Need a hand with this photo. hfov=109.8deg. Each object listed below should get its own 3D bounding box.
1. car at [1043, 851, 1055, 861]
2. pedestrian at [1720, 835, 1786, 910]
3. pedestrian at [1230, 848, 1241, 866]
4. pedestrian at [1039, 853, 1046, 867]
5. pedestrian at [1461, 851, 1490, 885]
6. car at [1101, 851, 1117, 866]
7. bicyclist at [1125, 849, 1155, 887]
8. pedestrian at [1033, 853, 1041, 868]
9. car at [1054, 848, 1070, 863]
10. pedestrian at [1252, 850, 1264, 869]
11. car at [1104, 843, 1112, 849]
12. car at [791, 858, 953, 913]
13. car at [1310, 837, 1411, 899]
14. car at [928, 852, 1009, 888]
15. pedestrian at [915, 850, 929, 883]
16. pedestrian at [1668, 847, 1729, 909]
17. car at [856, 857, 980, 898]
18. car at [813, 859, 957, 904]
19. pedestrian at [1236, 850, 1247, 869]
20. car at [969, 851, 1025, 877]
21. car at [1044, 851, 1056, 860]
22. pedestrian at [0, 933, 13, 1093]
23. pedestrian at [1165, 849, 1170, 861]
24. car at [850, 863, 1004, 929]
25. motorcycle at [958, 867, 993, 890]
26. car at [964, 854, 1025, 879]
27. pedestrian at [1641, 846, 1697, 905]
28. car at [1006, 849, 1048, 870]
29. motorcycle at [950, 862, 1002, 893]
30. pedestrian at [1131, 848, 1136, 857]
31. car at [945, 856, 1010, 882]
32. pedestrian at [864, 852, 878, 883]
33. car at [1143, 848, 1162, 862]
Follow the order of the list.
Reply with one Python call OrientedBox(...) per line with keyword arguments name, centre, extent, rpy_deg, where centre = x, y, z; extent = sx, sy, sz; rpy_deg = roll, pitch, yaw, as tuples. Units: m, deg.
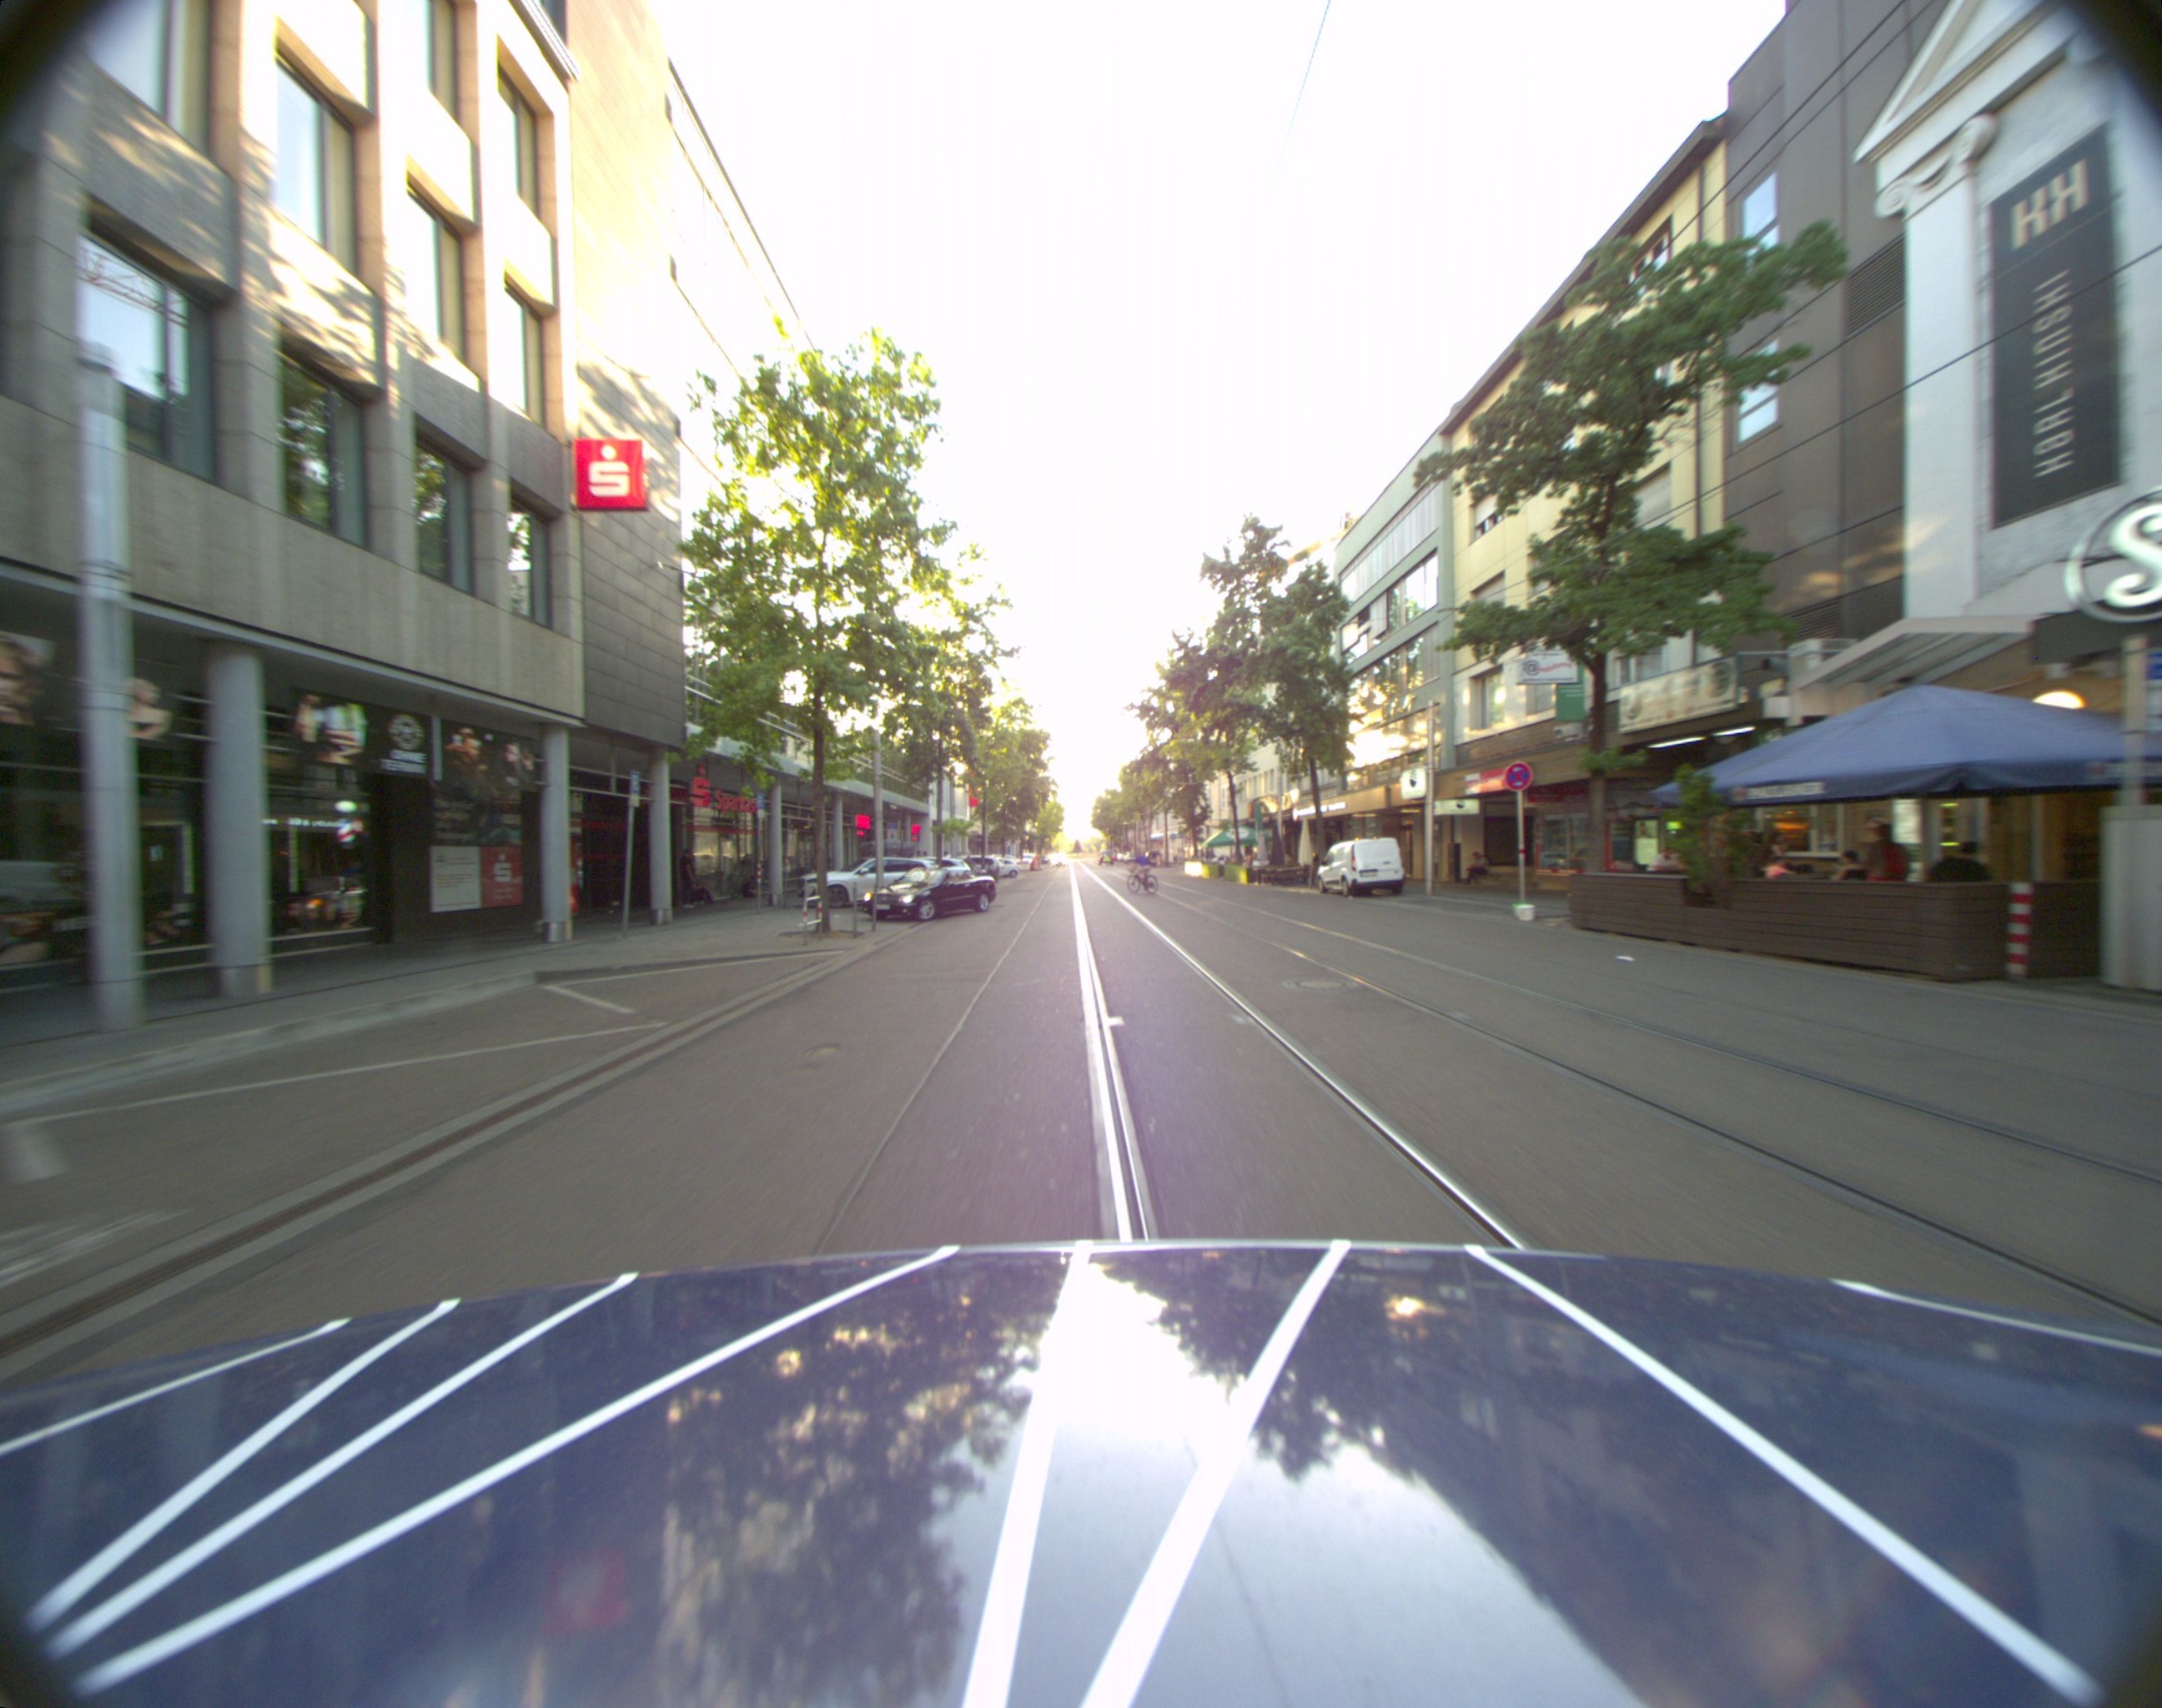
OrientedBox(name="car", centre=(-5.452, 0.287, 128.631), extent=(1.793, 1.499, 3.999), rpy_deg=(-2, 1, 0))
OrientedBox(name="pedestrian", centre=(13.492, 0.355, 15.277), extent=(0.662, 1.426, 0.643), rpy_deg=(-6, 2, 0))
OrientedBox(name="pedestrian", centre=(12.338, 0.221, 60.731), extent=(0.650, 1.451, 0.650), rpy_deg=(-1, 1, -2))
OrientedBox(name="pedestrian", centre=(-4.046, 0.596, 79.708), extent=(0.650, 1.451, 0.649), rpy_deg=(-1, 1, -17))
OrientedBox(name="pedestrian", centre=(13.763, 0.477, 26.517), extent=(0.650, 1.168, 0.650), rpy_deg=(-2, 1, -5))
OrientedBox(name="car", centre=(3.833, 0.561, 104.672), extent=(1.998, 2.002, 4.000), rpy_deg=(-1, 0, 0))
OrientedBox(name="bicyclist", centre=(2.250, 0.537, 29.154), extent=(0.762, 1.406, 0.895), rpy_deg=(0, -1, -28))
OrientedBox(name="pedestrian", centre=(-4.468, 0.646, 77.134), extent=(0.650, 1.451, 0.649), rpy_deg=(-1, 1, -17))
OrientedBox(name="car", centre=(-2.555, 0.179, 101.295), extent=(1.998, 2.002, 4.000), rpy_deg=(-1, 0, 0))
OrientedBox(name="pedestrian", centre=(13.310, 0.425, 57.149), extent=(0.650, 1.451, 0.650), rpy_deg=(-1, 1, -2))
OrientedBox(name="car", centre=(7.336, -2.131, 207.126), extent=(1.799, 1.501, 4.000), rpy_deg=(-1, 0, 0))
OrientedBox(name="car", centre=(-6.633, 0.980, 24.326), extent=(4.646, 1.620, 1.913), rpy_deg=(1, -1, -32))
OrientedBox(name="car", centre=(9.349, 0.436, 25.793), extent=(1.830, 1.811, 4.329), rpy_deg=(-4, 0, 1))
OrientedBox(name="car", centre=(-6.785, 0.957, 46.115), extent=(4.474, 1.869, 1.795), rpy_deg=(-4, 1, -37))
OrientedBox(name="pedestrian", centre=(-8.304, 0.641, 39.722), extent=(0.618, 1.681, 0.628), rpy_deg=(0, 1, 0))
OrientedBox(name="pedestrian", centre=(12.937, 0.486, 15.928), extent=(0.642, 1.221, 0.665), rpy_deg=(-6, 2, -2))
OrientedBox(name="car", centre=(-6.752, 0.926, 31.658), extent=(4.646, 1.578, 1.913), rpy_deg=(1, 0, -35))
OrientedBox(name="car", centre=(-6.938, 0.938, 27.024), extent=(4.644, 1.431, 1.913), rpy_deg=(1, 0, -27))
OrientedBox(name="pedestrian", centre=(12.475, 0.425, 59.177), extent=(0.650, 1.451, 0.650), rpy_deg=(-1, 1, -2))
OrientedBox(name="car", centre=(-6.746, 0.831, 61.189), extent=(4.004, 1.776, 1.861), rpy_deg=(-4, 1, -24))
OrientedBox(name="car", centre=(-5.543, 0.189, 135.832), extent=(1.793, 1.499, 3.999), rpy_deg=(-2, 1, 0))
OrientedBox(name="pedestrian", centre=(-7.573, 0.826, 4.782), extent=(0.670, 1.579, 0.638), rpy_deg=(-3, 1, -1))
OrientedBox(name="pedestrian", centre=(10.237, 0.151, 90.172), extent=(0.490, 1.451, 0.543), rpy_deg=(-1, 1, -2))
OrientedBox(name="car", centre=(-4.021, 1.079, 20.768), extent=(1.796, 1.400, 4.571), rpy_deg=(-3, 1, 23))
OrientedBox(name="motorcycle", centre=(-5.067, 1.176, 36.467), extent=(1.574, 1.093, 0.627), rpy_deg=(1, 1, -25))
OrientedBox(name="car", centre=(-6.438, 0.936, 56.479), extent=(4.005, 1.501, 1.861), rpy_deg=(-4, 1, -30))
OrientedBox(name="pedestrian", centre=(13.012, 0.471, 16.829), extent=(0.642, 1.221, 0.665), rpy_deg=(-6, 2, -2))
OrientedBox(name="car", centre=(-5.233, 0.556, 74.093), extent=(1.860, 1.776, 4.007), rpy_deg=(-3, 1, 34))
OrientedBox(name="motorcycle", centre=(-4.833, 1.061, 34.977), extent=(1.153, 1.346, 2.115), rpy_deg=(1, 1, 41))
OrientedBox(name="pedestrian", centre=(8.134, -0.257, 118.021), extent=(0.650, 1.451, 0.650), rpy_deg=(-1, 1, -2))
OrientedBox(name="car", centre=(-7.182, 1.011, 52.929), extent=(4.005, 1.501, 1.796), rpy_deg=(-4, 1, -30))
OrientedBox(name="pedestrian", centre=(-11.452, 0.720, 41.368), extent=(0.558, 1.681, 0.628), rpy_deg=(0, 1, 0))
OrientedBox(name="car", centre=(8.190, 0.091, 87.483), extent=(1.799, 1.501, 4.000), rpy_deg=(-1, 0, 0))
